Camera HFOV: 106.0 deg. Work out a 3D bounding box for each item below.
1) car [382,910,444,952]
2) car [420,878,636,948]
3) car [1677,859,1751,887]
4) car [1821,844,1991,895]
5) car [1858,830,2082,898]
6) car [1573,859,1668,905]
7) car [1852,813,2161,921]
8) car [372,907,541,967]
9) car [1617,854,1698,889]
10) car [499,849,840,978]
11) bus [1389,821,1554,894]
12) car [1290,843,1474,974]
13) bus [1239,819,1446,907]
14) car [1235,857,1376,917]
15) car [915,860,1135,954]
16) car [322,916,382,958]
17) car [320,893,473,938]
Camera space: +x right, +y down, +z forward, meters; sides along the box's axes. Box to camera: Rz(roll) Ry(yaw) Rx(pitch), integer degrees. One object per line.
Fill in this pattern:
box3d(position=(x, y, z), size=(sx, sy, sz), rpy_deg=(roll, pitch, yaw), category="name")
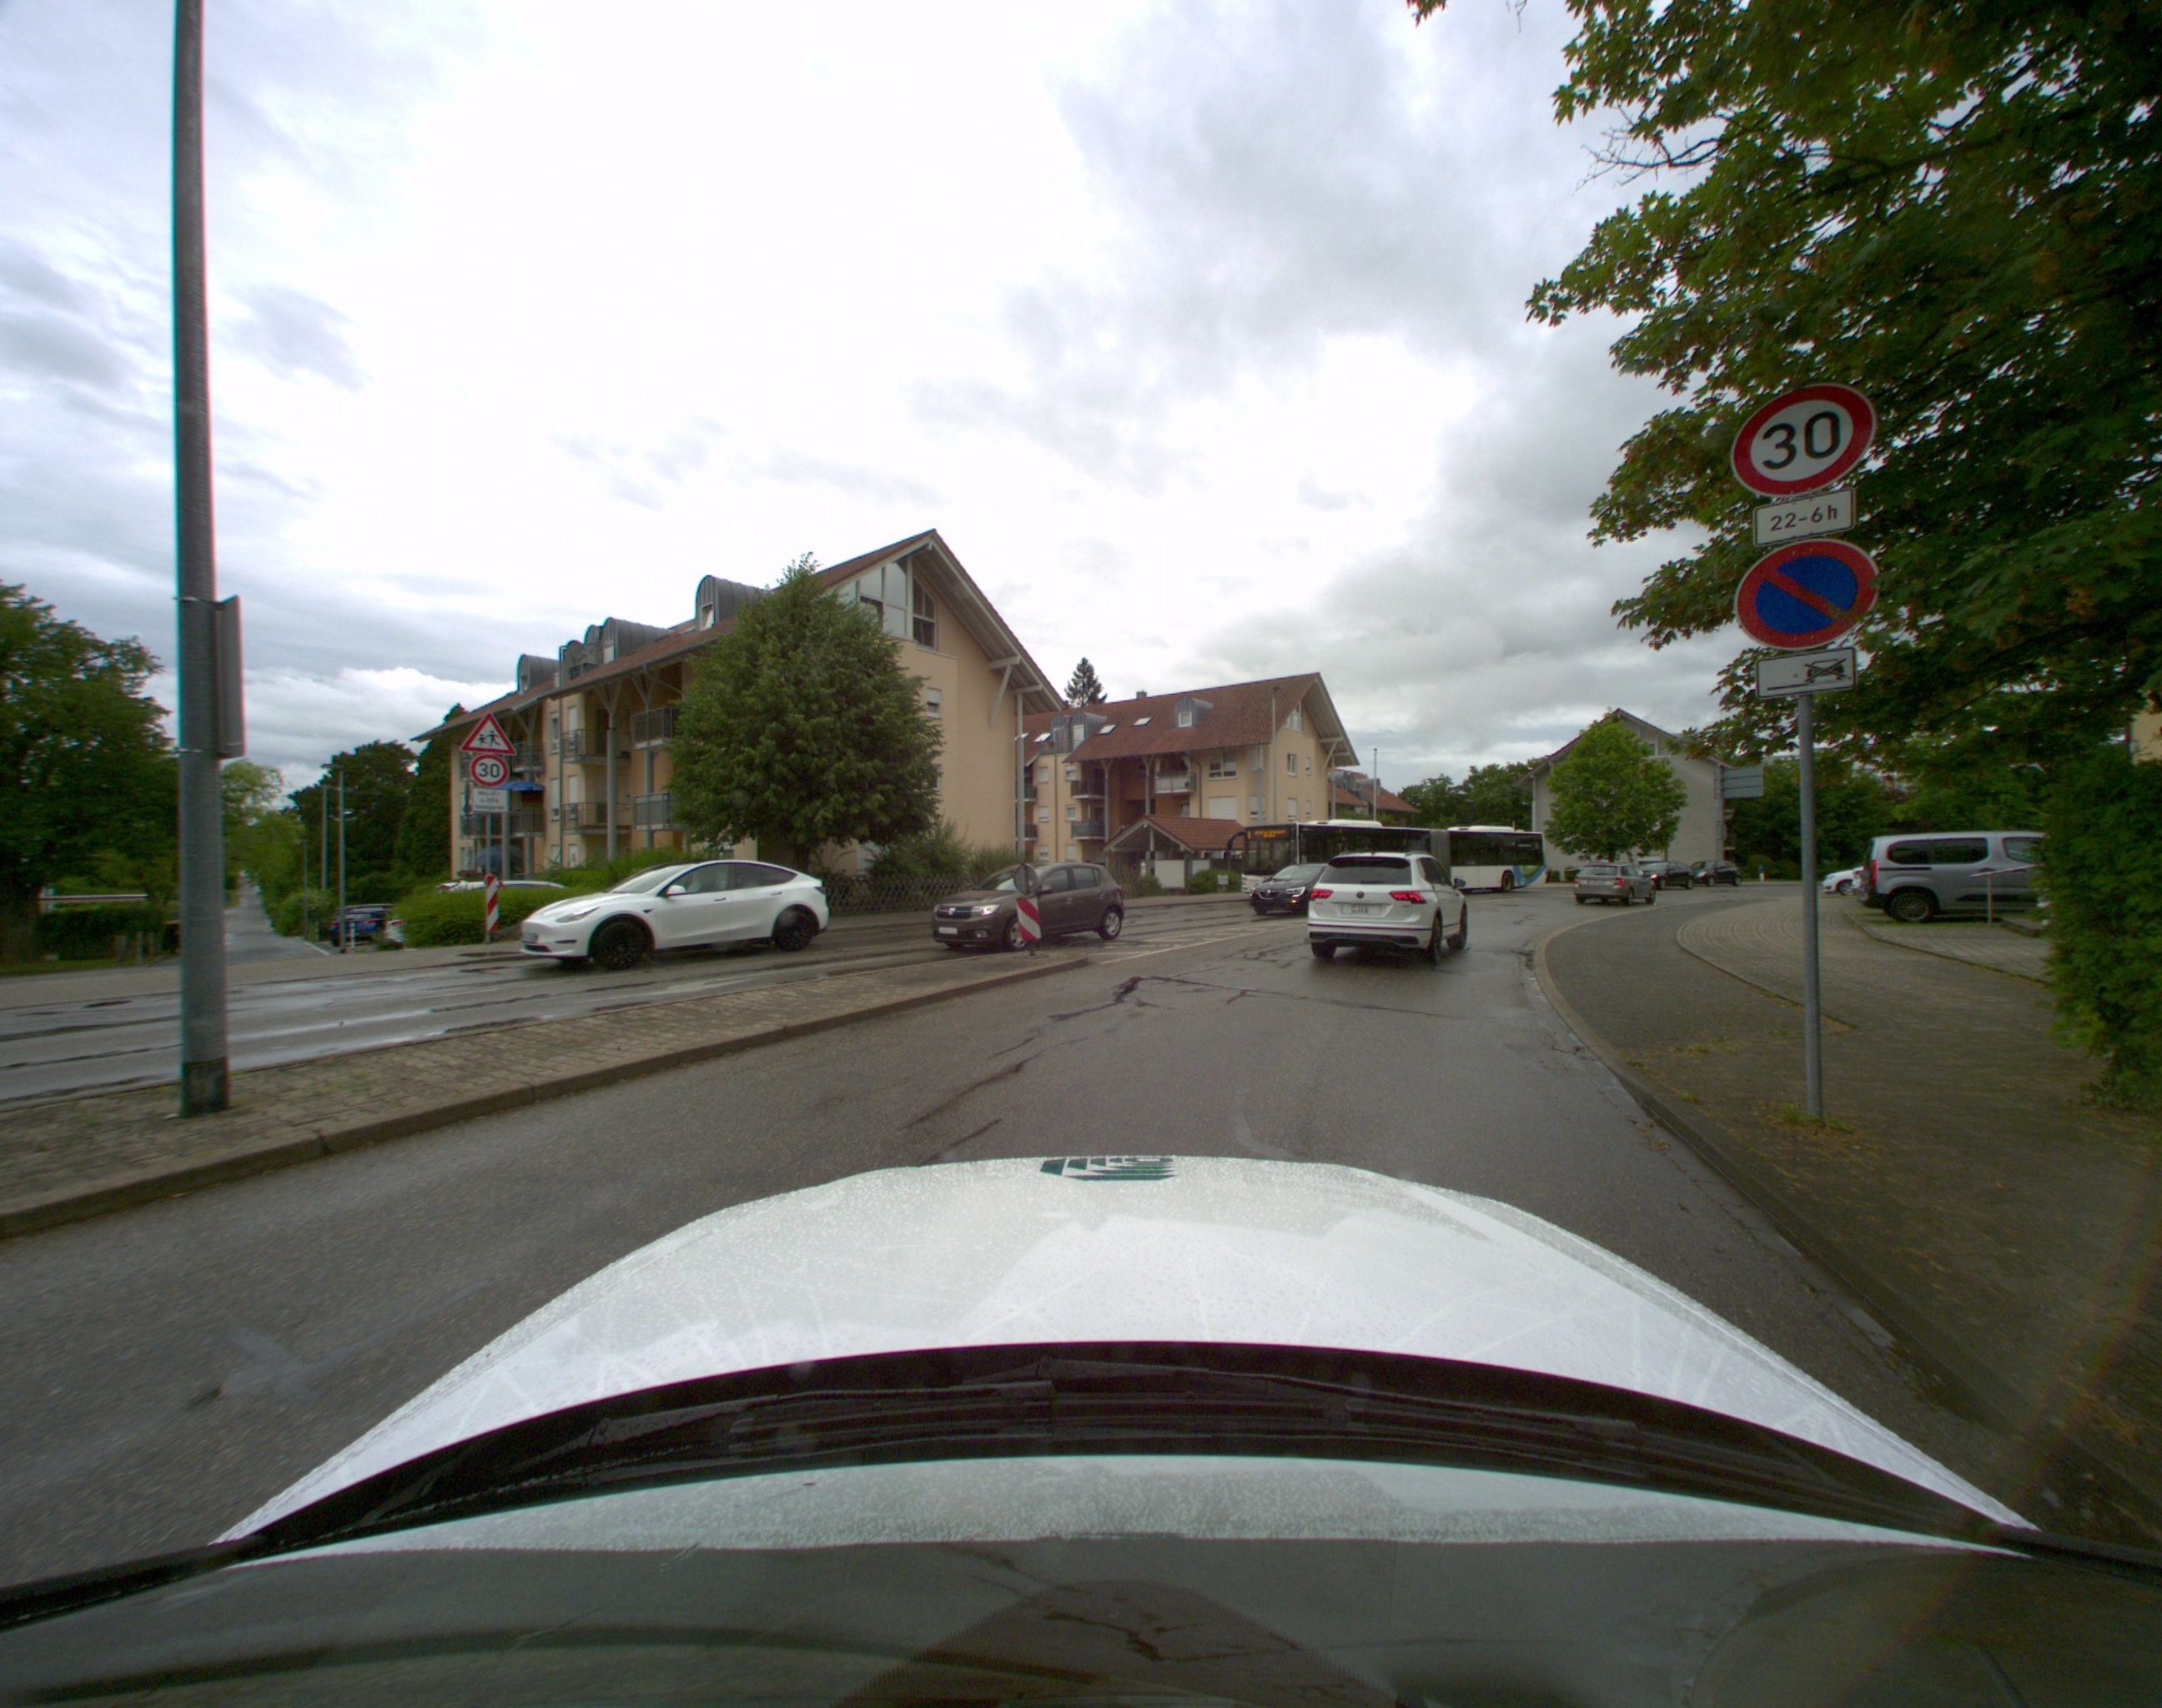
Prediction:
box3d(position=(-27.836, 3.161, 33.883), size=(1.776, 1.408, 3.815), rpy_deg=(-3, 0, -42), category="car")
box3d(position=(-13.907, 1.434, 20.657), size=(1.799, 1.439, 4.228), rpy_deg=(-4, -2, 44), category="car")
box3d(position=(35.704, 1.080, 45.933), size=(3.697, 1.422, 1.581), rpy_deg=(-2, -1, -22), category="car")
box3d(position=(31.013, 0.602, 30.726), size=(1.775, 1.597, 4.302), rpy_deg=(-1, -4, -41), category="car")
box3d(position=(25.222, 0.328, 23.371), size=(4.005, 1.597, 1.907), rpy_deg=(-6, -4, 40), category="car")
box3d(position=(18.894, 0.967, 28.468), size=(4.020, 1.510, 1.750), rpy_deg=(2, -1, -41), category="car")
box3d(position=(18.498, 0.313, 16.263), size=(4.252, 1.781, 1.917), rpy_deg=(-6, -4, 40), category="car")
box3d(position=(-19.152, 2.481, 25.090), size=(1.744, 1.408, 3.886), rpy_deg=(-3, 0, 43), category="car")
box3d(position=(28.604, 0.857, 40.387), size=(4.310, 1.518, 1.845), rpy_deg=(-2, -2, -35), category="car")
box3d(position=(-6.544, 0.830, 13.466), size=(1.929, 1.725, 4.630), rpy_deg=(-2, -1, 37), category="car")
box3d(position=(17.645, 0.093, 36.540), size=(8.437, 3.000, 2.567), rpy_deg=(-2, -1, -33), category="bus")
box3d(position=(5.065, 0.743, 13.292), size=(1.902, 1.722, 4.292), rpy_deg=(2, 1, 33), category="car")
box3d(position=(10.319, 0.251, 31.504), size=(9.244, 3.000, 2.527), rpy_deg=(-2, -1, -36), category="bus")
box3d(position=(6.496, 0.906, 23.367), size=(4.197, 1.519, 1.933), rpy_deg=(0, -2, -43), category="car")
box3d(position=(-0.913, 0.892, 15.113), size=(1.805, 1.487, 3.962), rpy_deg=(-3, -2, 40), category="car")
box3d(position=(-31.006, 3.486, 34.642), size=(1.776, 1.408, 3.815), rpy_deg=(-3, 0, -42), category="car")
box3d(position=(-37.977, 3.326, 45.359), size=(2.816, 2.201, 6.058), rpy_deg=(-2, -3, 38), category="car")
